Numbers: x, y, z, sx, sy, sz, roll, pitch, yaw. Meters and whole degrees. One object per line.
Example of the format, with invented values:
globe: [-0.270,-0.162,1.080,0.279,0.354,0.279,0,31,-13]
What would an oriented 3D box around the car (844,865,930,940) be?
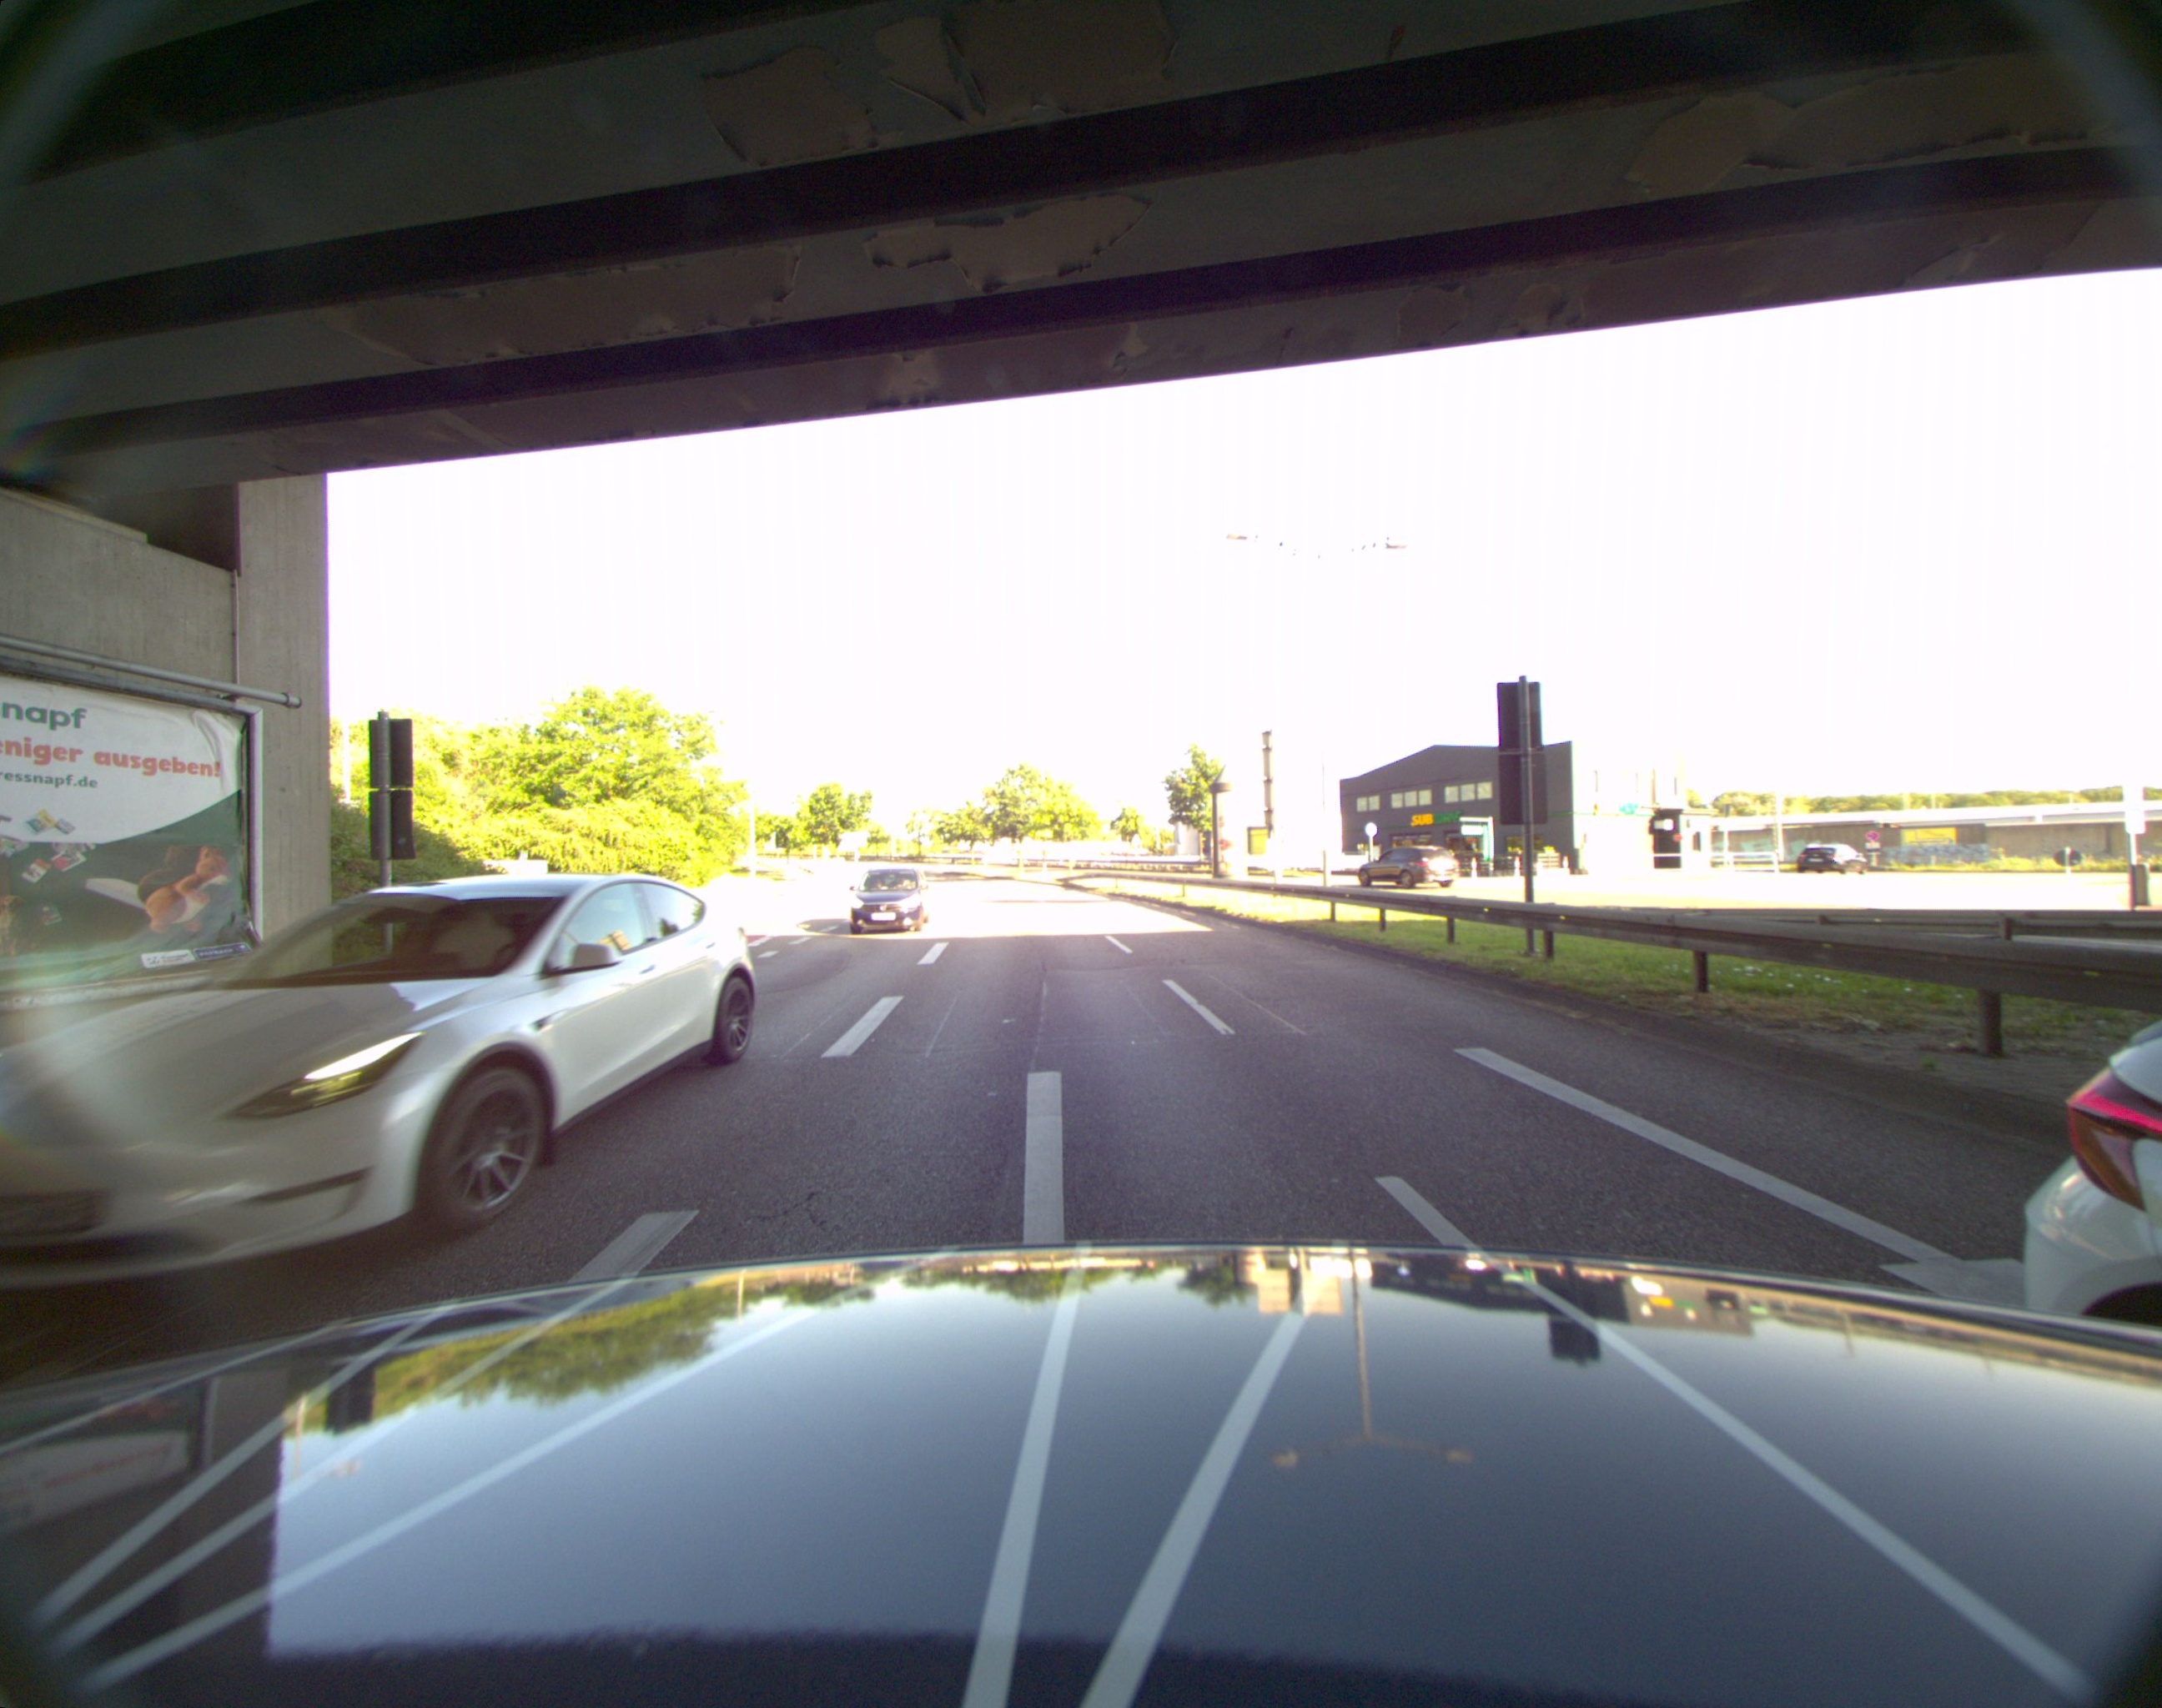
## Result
car: [-4.924,1.163,19.796,1.780,1.591,4.101,-3,1,-10]

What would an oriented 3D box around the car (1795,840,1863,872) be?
car: [38.368,0.087,38.933,4.007,1.434,1.878,-3,1,-37]

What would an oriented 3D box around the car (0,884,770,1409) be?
car: [-3.779,1.071,4.687,1.999,1.542,4.420,-3,0,-3]

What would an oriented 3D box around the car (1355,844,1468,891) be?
car: [12.832,0.484,29.819,1.858,1.607,4.360,-3,1,-11]
